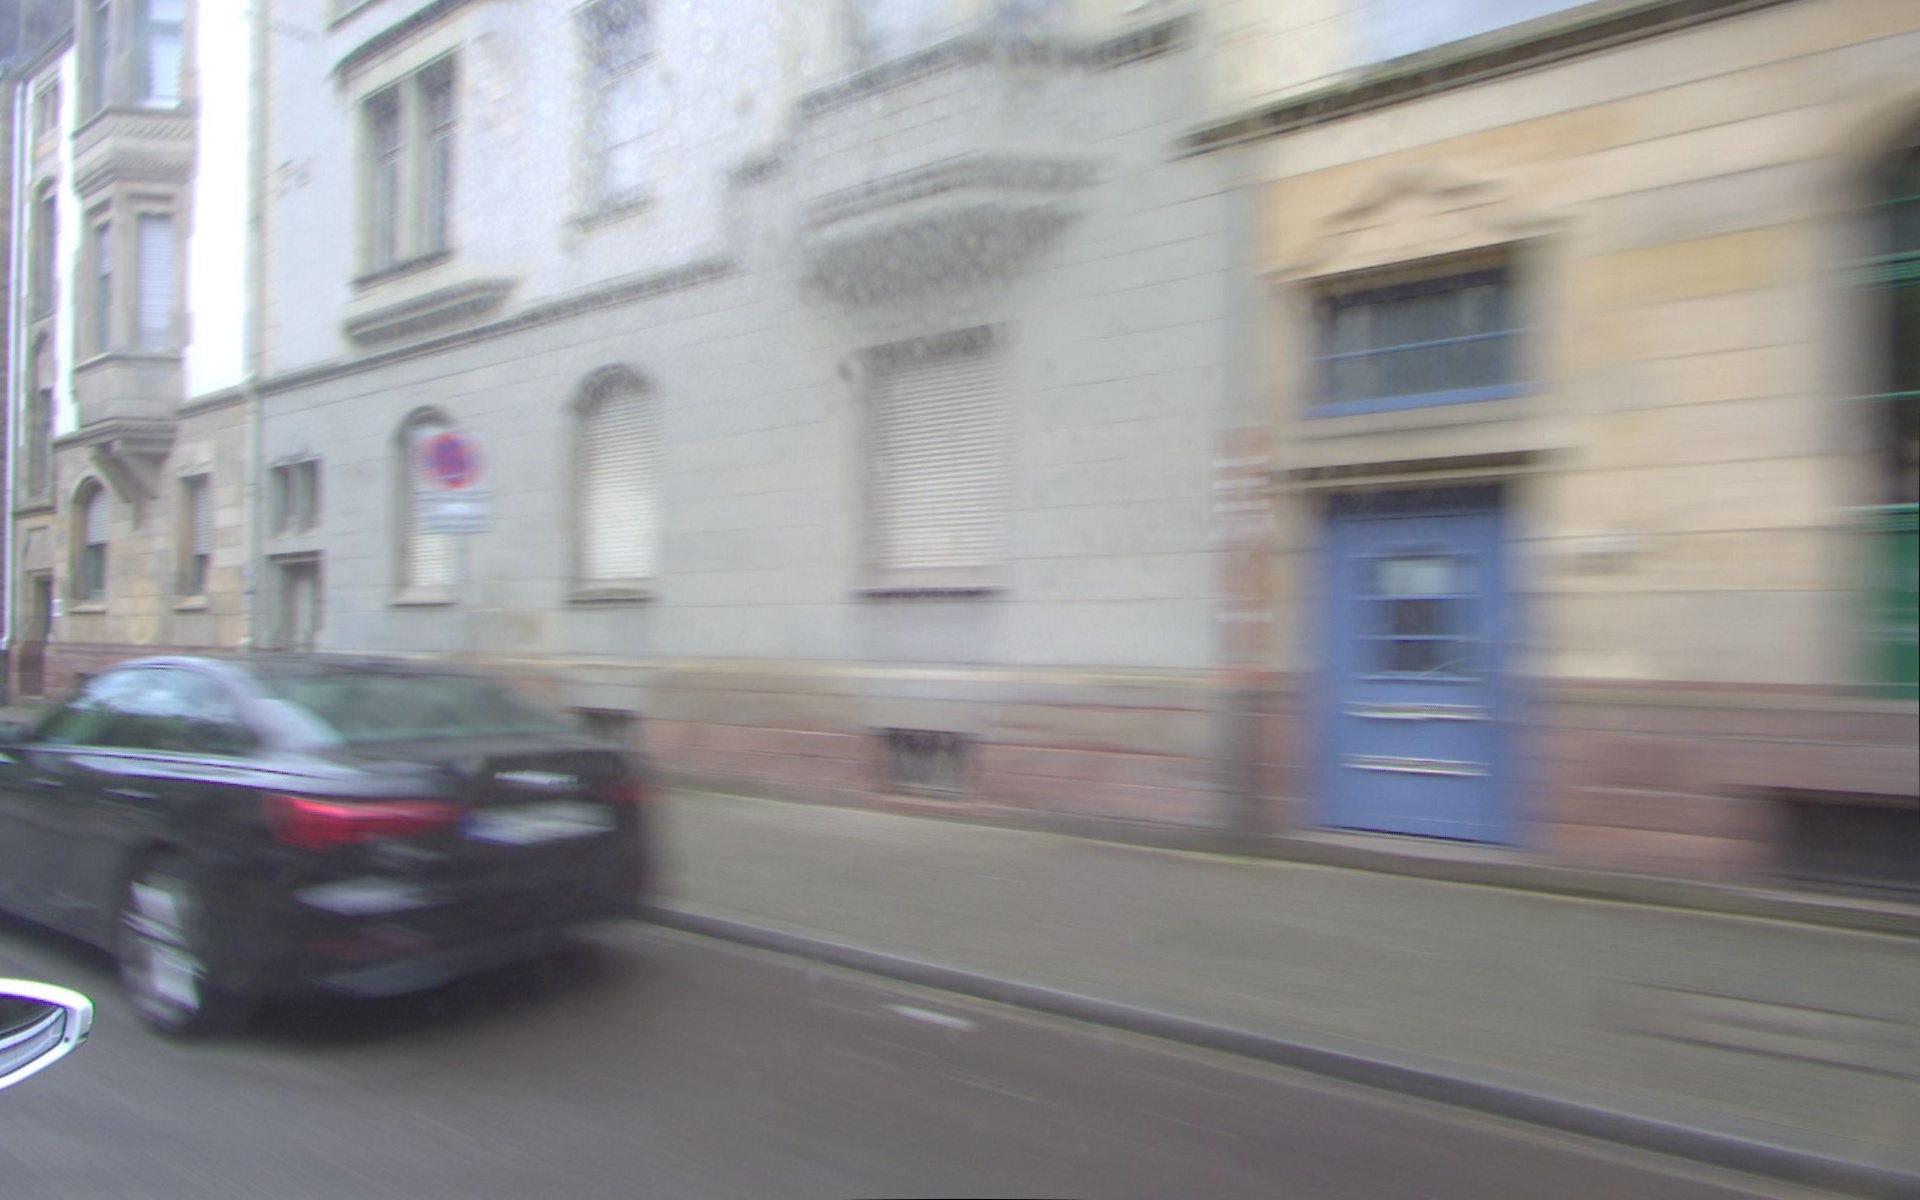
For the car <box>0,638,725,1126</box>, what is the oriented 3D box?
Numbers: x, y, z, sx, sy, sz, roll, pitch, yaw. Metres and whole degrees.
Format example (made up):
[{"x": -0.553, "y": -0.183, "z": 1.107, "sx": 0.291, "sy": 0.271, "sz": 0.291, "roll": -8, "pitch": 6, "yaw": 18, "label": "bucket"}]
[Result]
[{"x": -3.741, "y": 0.967, "z": 5.281, "sx": 5.121, "sy": 1.456, "sz": 1.798, "roll": 0, "pitch": -2, "yaw": 32, "label": "car"}]
